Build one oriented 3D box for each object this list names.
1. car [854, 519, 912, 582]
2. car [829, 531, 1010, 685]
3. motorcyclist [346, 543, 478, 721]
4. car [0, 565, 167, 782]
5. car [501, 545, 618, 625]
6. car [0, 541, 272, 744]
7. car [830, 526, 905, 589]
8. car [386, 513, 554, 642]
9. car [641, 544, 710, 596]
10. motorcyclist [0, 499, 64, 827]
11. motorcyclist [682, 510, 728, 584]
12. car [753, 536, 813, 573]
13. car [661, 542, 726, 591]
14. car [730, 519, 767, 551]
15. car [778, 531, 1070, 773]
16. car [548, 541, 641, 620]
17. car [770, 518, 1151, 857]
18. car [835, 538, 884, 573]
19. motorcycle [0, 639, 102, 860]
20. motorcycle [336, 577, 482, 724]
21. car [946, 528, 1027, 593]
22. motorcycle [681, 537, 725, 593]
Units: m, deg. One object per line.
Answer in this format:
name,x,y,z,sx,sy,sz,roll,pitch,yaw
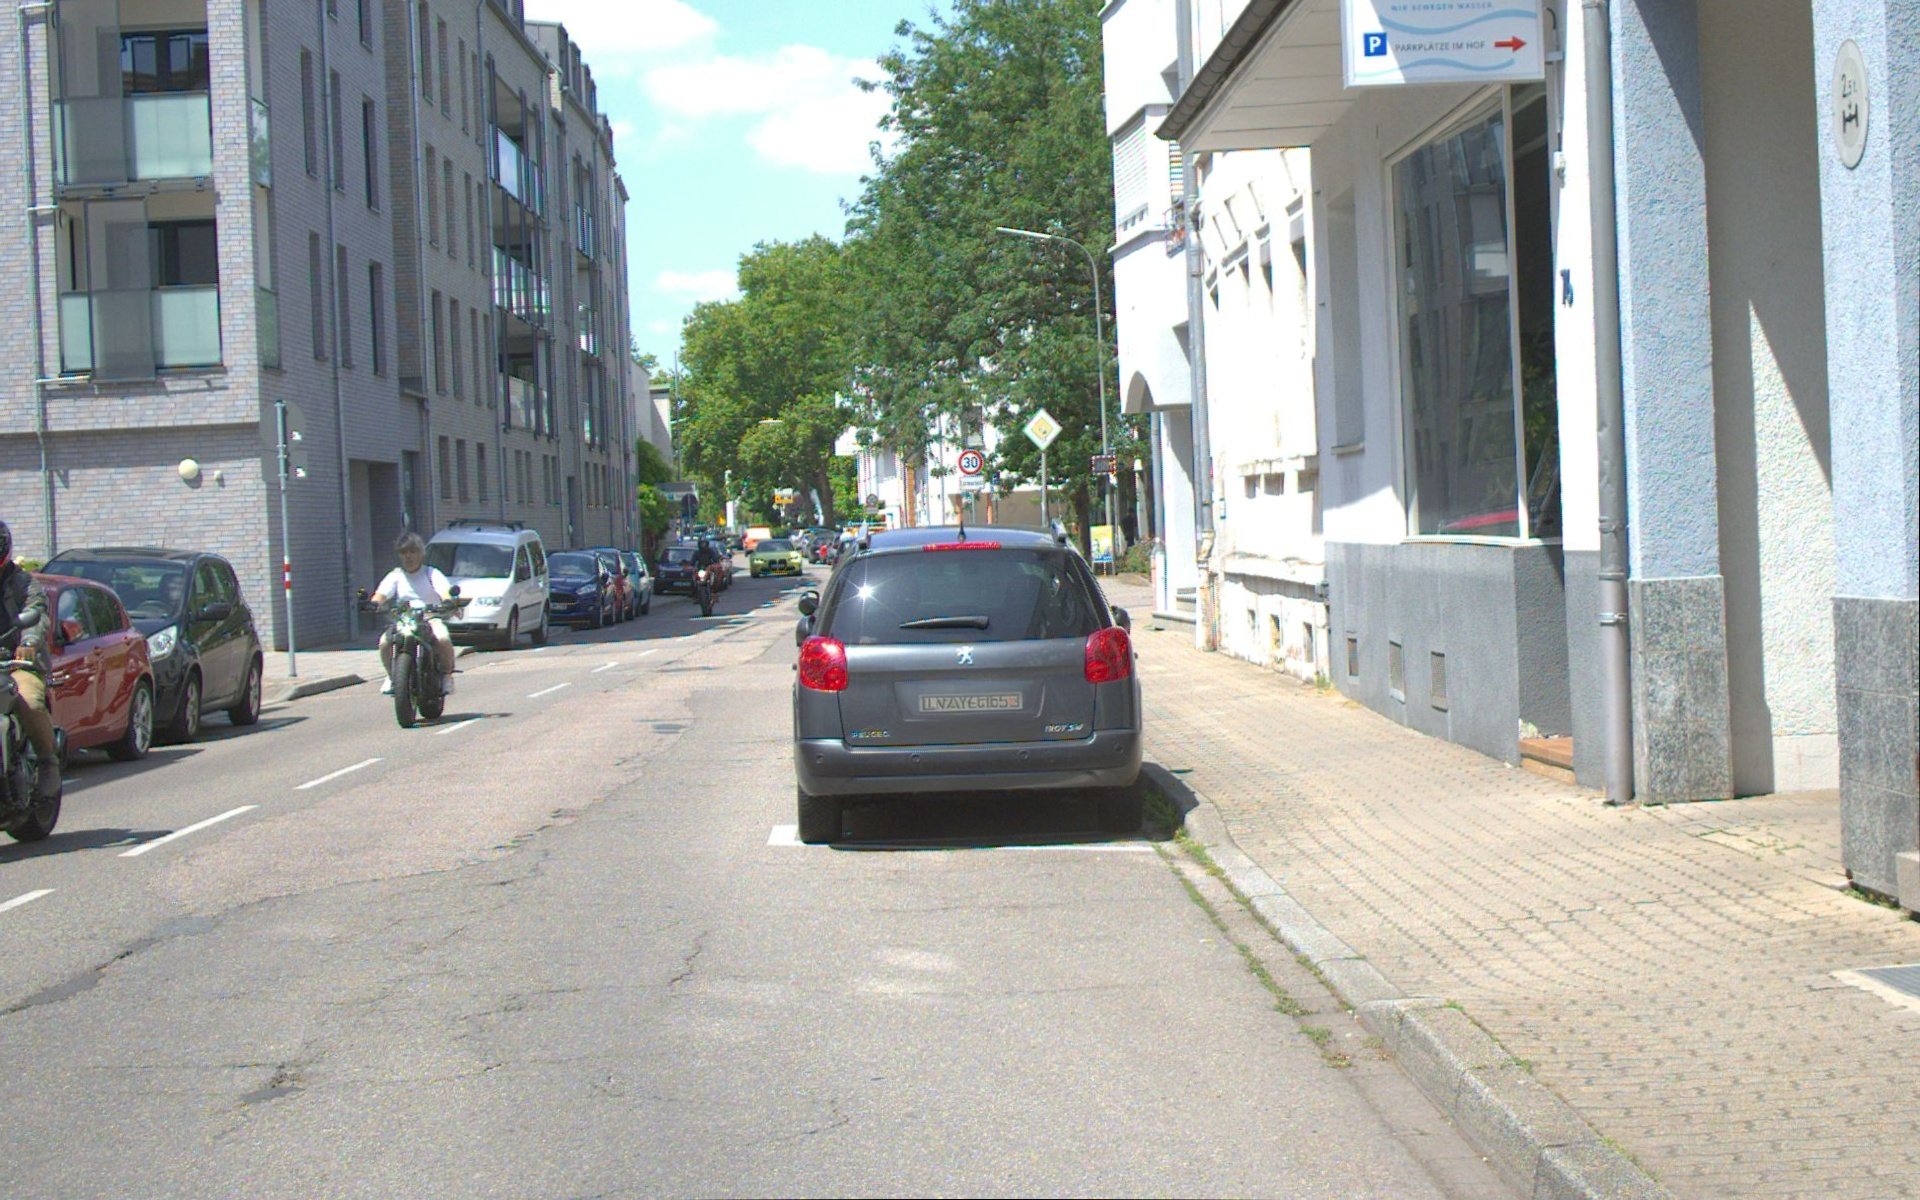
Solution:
car,-2.599,-1.698,116.236,1.839,2.006,4.000,-2,2,0
car,-0.443,0.043,33.626,1.618,1.381,3.539,-2,1,-3
motorcyclist,-4.716,0.262,29.637,0.916,1.475,1.203,-2,1,-1
car,-7.275,0.499,25.115,1.834,1.412,4.290,-2,1,2
car,-7.573,-0.306,65.287,1.723,1.451,4.005,-1,1,0
car,-7.322,0.319,30.101,1.794,1.641,3.945,-1,1,0
car,-2.204,-1.035,82.743,1.715,1.397,4.000,-2,2,-1
car,-7.498,-0.383,52.954,1.757,1.885,4.336,1,1,3
car,-8.307,-0.904,100.633,1.732,1.437,4.000,-2,1,-1
motorcyclist,-5.130,0.312,17.552,0.713,1.628,1.069,-3,1,3
motorcyclist,-5.338,-1.110,72.033,0.822,1.504,1.057,-2,1,1
car,-6.717,-1.738,131.038,1.993,1.376,4.393,0,1,1
car,-8.190,-1.039,105.923,1.732,1.437,4.000,-2,1,-1
car,-13.989,-4.293,227.186,2.156,2.007,4.001,-2,1,-6
car,-0.261,0.276,23.196,1.729,1.415,4.545,-2,1,-1
car,-7.495,-0.426,70.724,1.590,1.548,3.571,-1,1,-1
car,-0.088,0.369,17.805,1.709,1.503,4.001,-2,1,-3
car,-4.851,-2.136,166.028,1.993,1.612,4.001,-2,1,-7
motorcycle,-5.101,0.772,17.589,0.713,1.025,2.239,-3,1,3
motorcycle,-4.735,0.412,29.702,0.896,1.172,2.208,-2,1,-1
car,0.616,-0.966,83.397,1.692,1.415,4.000,-4,1,-2
motorcycle,-5.381,-0.746,72.087,0.688,1.118,2.028,-2,1,1
